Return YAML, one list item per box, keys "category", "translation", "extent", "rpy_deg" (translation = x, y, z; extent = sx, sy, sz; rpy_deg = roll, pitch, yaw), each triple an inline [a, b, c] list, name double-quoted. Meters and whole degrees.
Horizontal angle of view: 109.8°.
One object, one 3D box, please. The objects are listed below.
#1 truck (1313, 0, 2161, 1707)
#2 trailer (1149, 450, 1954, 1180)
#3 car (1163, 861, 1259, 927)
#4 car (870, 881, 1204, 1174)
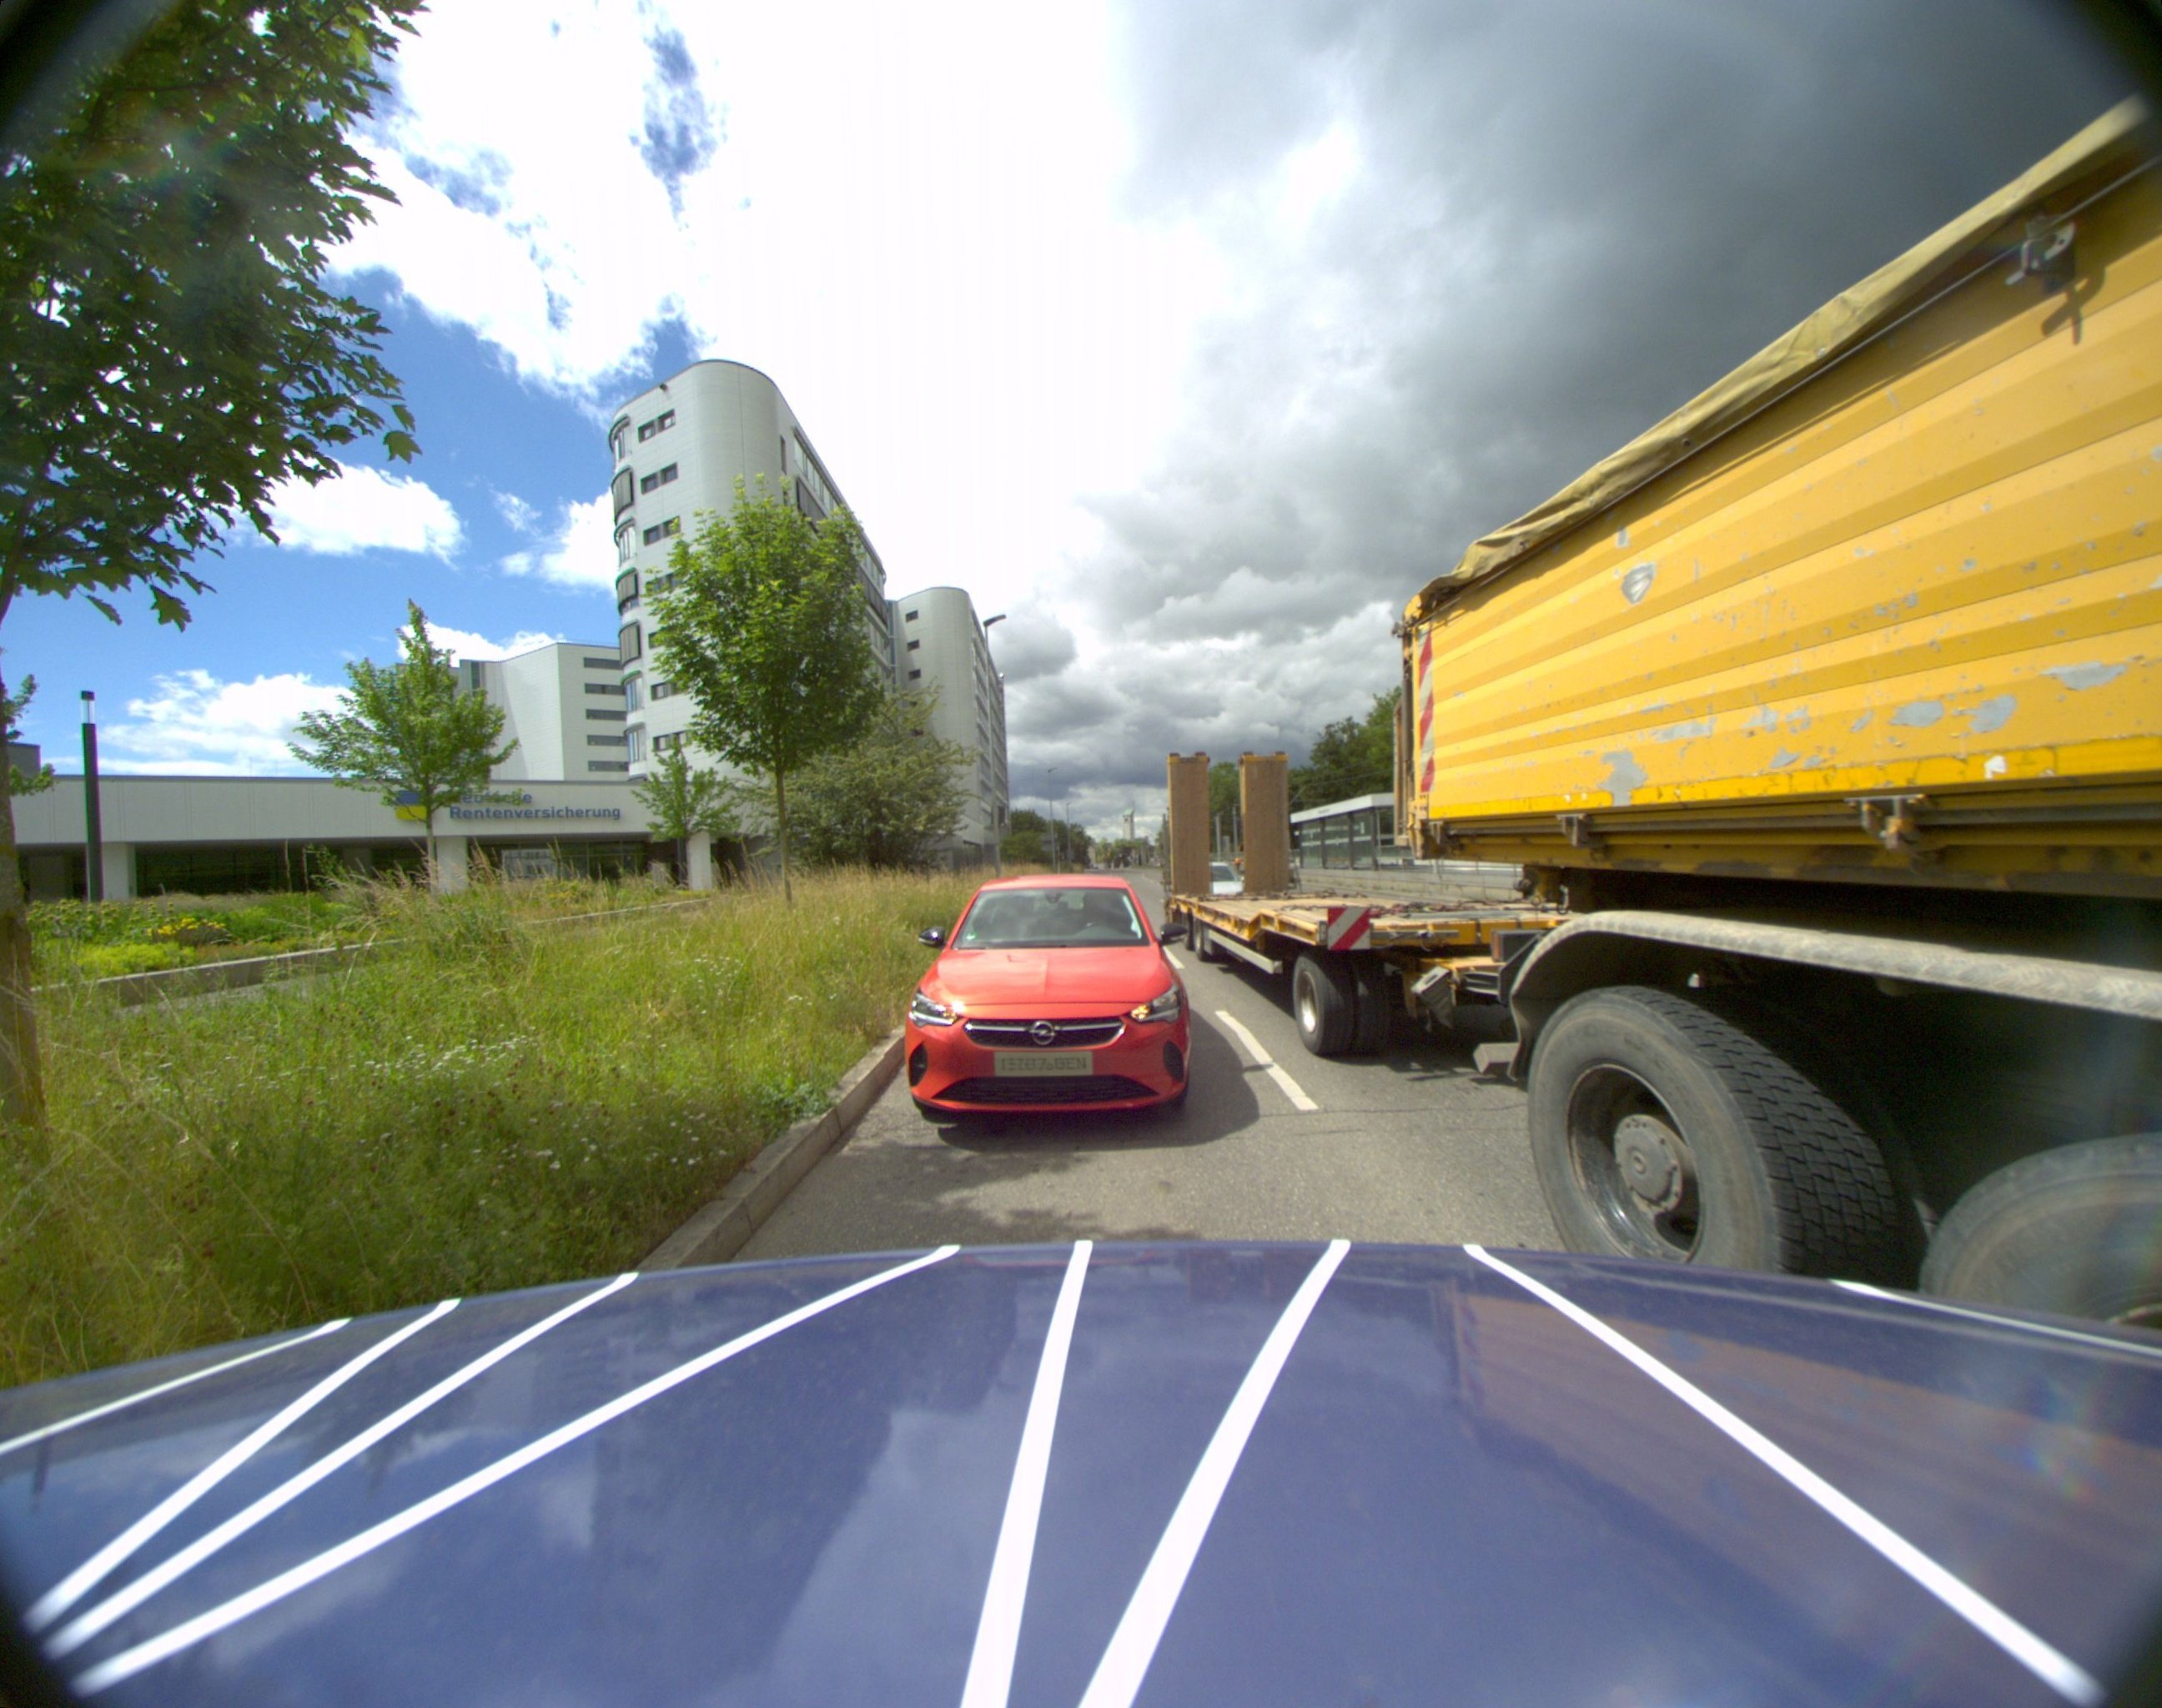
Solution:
- category: "truck"
  translation: [2.867, -0.063, 0.122]
  extent: [3.057, 3.374, 8.006]
  rpy_deg: [-2, 0, 0]
- category: "trailer"
  translation: [2.939, -0.177, 9.422]
  extent: [3.057, 3.676, 10.965]
  rpy_deg: [-2, 0, 0]
- category: "car"
  translation: [3.132, 0.911, 19.020]
  extent: [1.784, 1.408, 3.785]
  rpy_deg: [-2, 0, 1]
- category: "car"
  translation: [-0.201, 0.986, 5.852]
  extent: [1.749, 1.408, 3.676]
  rpy_deg: [-1, 0, 1]
